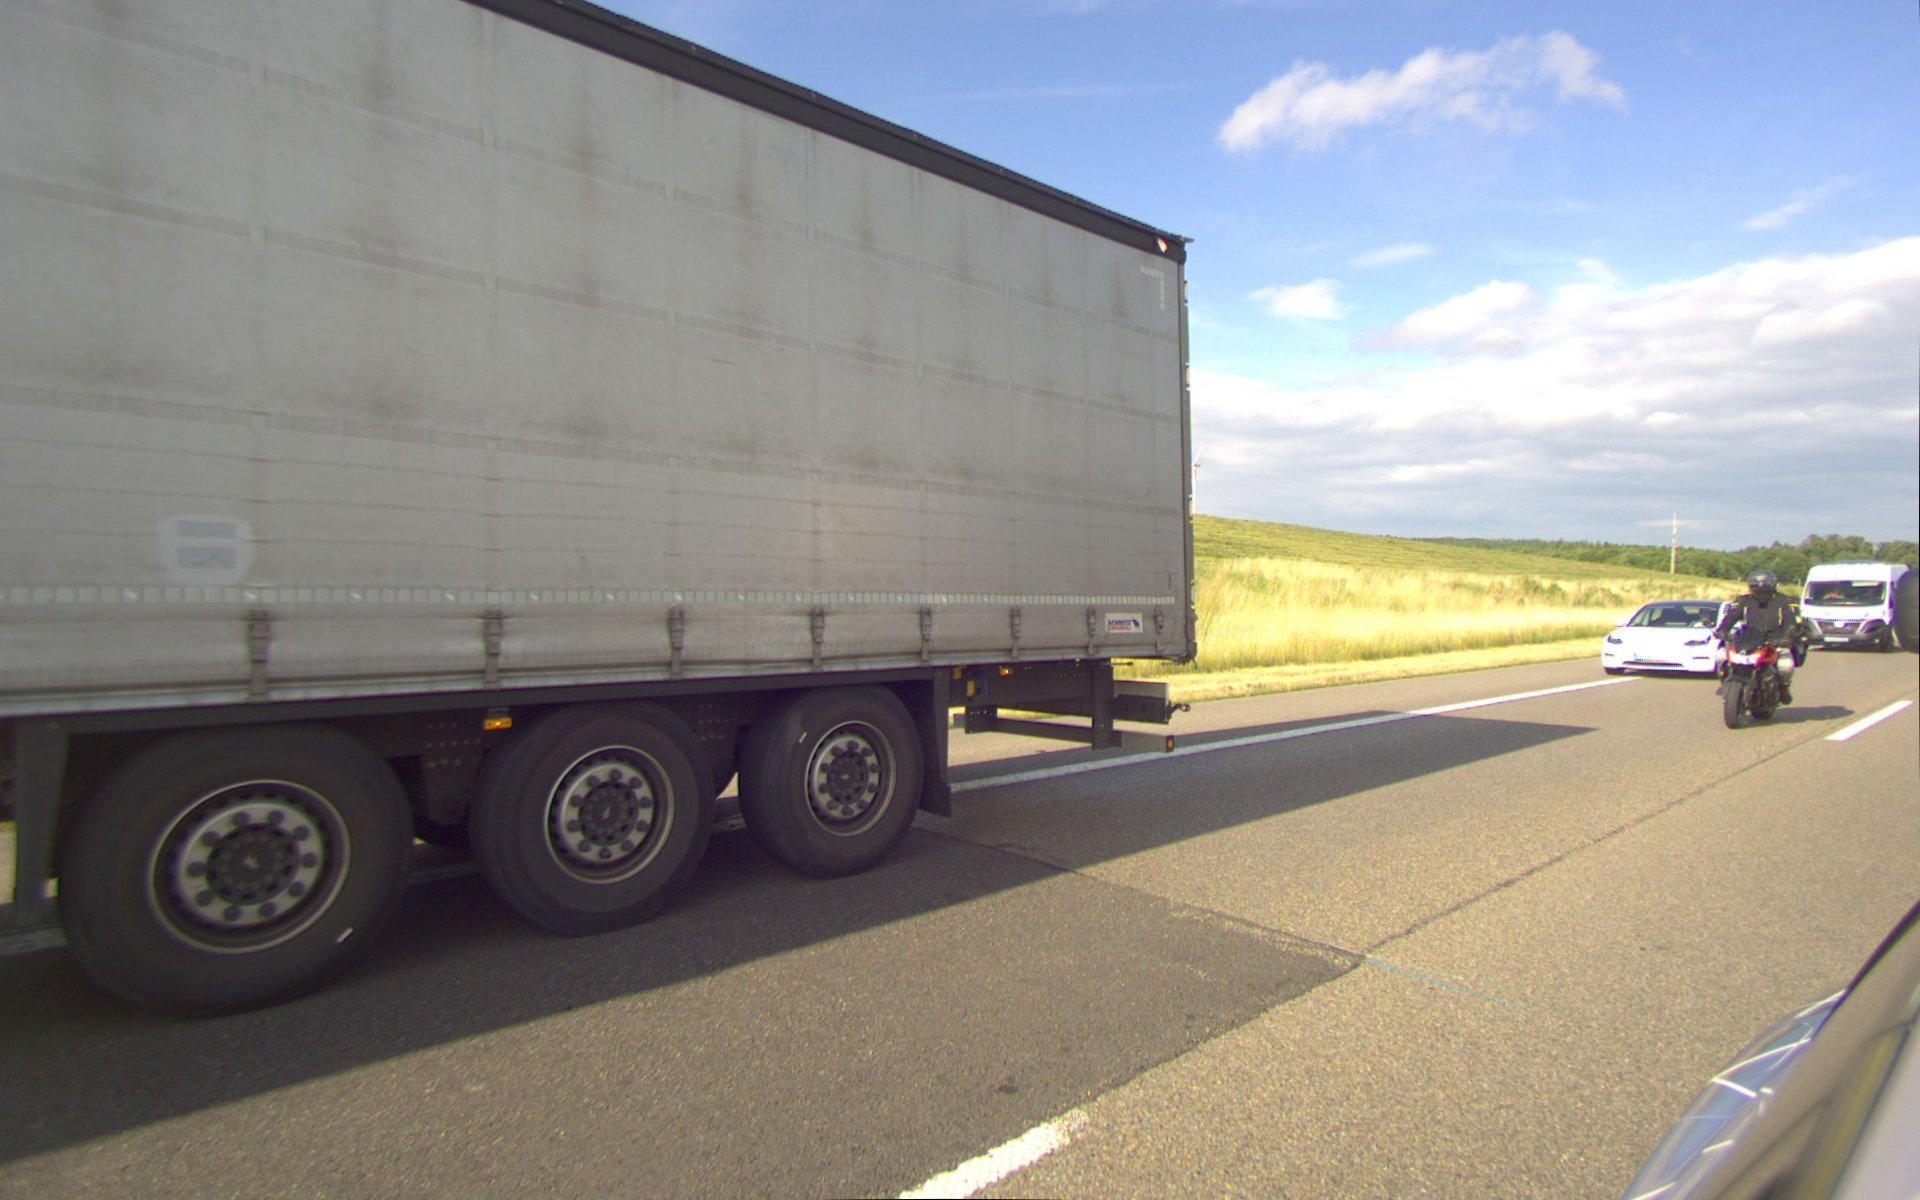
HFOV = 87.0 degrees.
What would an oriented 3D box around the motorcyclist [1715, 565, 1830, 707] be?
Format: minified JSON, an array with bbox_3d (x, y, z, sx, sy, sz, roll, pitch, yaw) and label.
[{"bbox_3d":[9.324,0.381,11.618,0.848,1.548,0.897,0,1,-41],"label":"motorcyclist"}]

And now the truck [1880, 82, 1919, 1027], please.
[{"bbox_3d":[8.092,-0.124,6.217,10.970,3.199,2.499,0,0,-42],"label":"truck"}]

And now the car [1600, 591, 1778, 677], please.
[{"bbox_3d":[14.295,0.573,19.756,4.384,1.435,1.870,-1,1,-41],"label":"car"}]

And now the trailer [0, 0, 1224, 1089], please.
[{"bbox_3d":[-4.023,-0.620,3.665,13.462,4.091,2.621,0,1,-42],"label":"trailer"}]

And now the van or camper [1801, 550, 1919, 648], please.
[{"bbox_3d":[26.631,-0.081,29.628,6.301,2.576,2.100,-1,1,-41],"label":"van or camper"}]

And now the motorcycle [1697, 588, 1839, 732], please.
[{"bbox_3d":[9.283,0.612,11.594,2.230,1.474,0.897,-1,1,-41],"label":"motorcycle"}]
